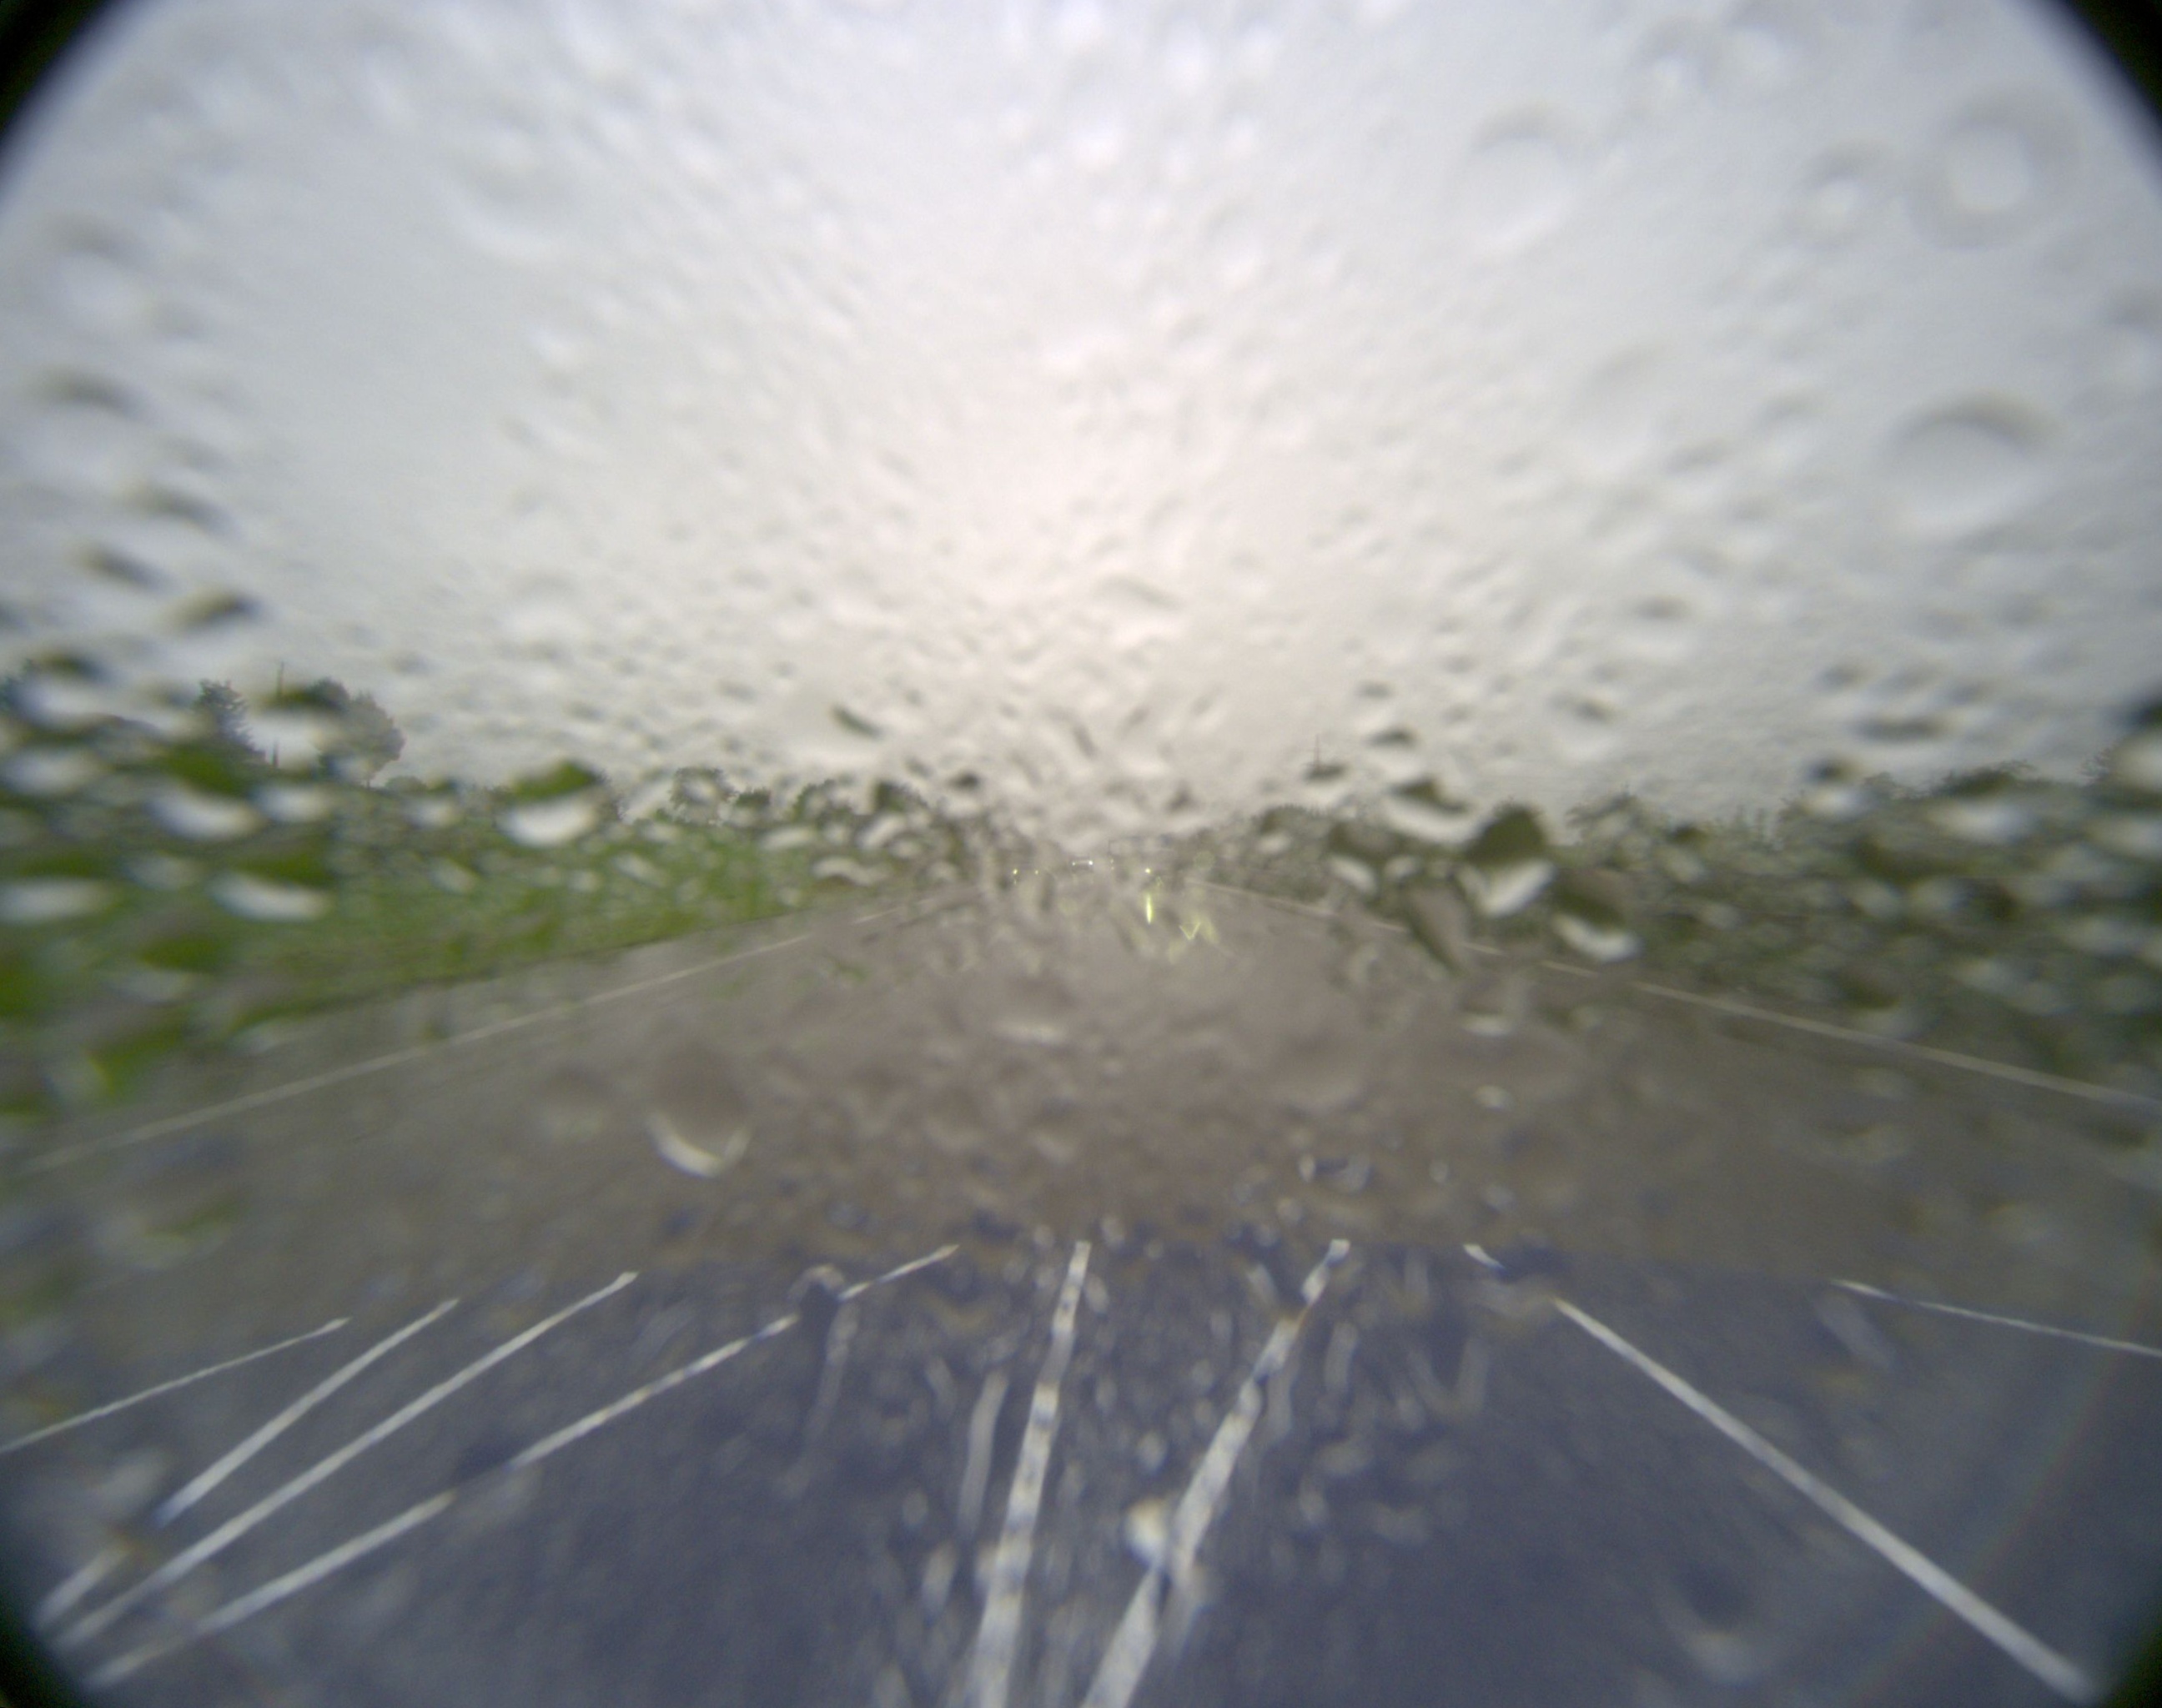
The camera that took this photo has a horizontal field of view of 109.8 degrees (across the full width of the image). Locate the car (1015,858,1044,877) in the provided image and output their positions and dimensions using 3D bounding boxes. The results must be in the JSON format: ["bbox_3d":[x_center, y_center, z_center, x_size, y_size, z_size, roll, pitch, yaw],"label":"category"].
[{"bbox_3d":[-3.761,0.976,56.009,1.753,1.205,3.999,-2,1,0],"label":"car"}]

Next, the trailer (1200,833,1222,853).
[{"bbox_3d":[21.831,-1.839,127.923,2.252,3.047,8.264,-2,1,1],"label":"trailer"}]

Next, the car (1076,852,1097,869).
[{"bbox_3d":[0.482,0.545,69.225,1.753,1.406,3.999,-2,1,0],"label":"car"}]

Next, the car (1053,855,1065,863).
[{"bbox_3d":[-3.379,0.774,117.541,1.753,1.205,3.999,-2,1,0],"label":"car"}]

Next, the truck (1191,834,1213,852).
[{"bbox_3d":[21.776,-1.965,137.391,2.246,3.019,10.614,-2,1,0],"label":"truck"}]

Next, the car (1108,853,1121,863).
[{"bbox_3d":[4.916,0.596,111.179,1.753,1.369,4.000,-2,0,0],"label":"car"}]

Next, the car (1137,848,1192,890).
[{"bbox_3d":[3.781,0.646,35.074,2.047,1.763,4.500,-1,1,1],"label":"car"}]
